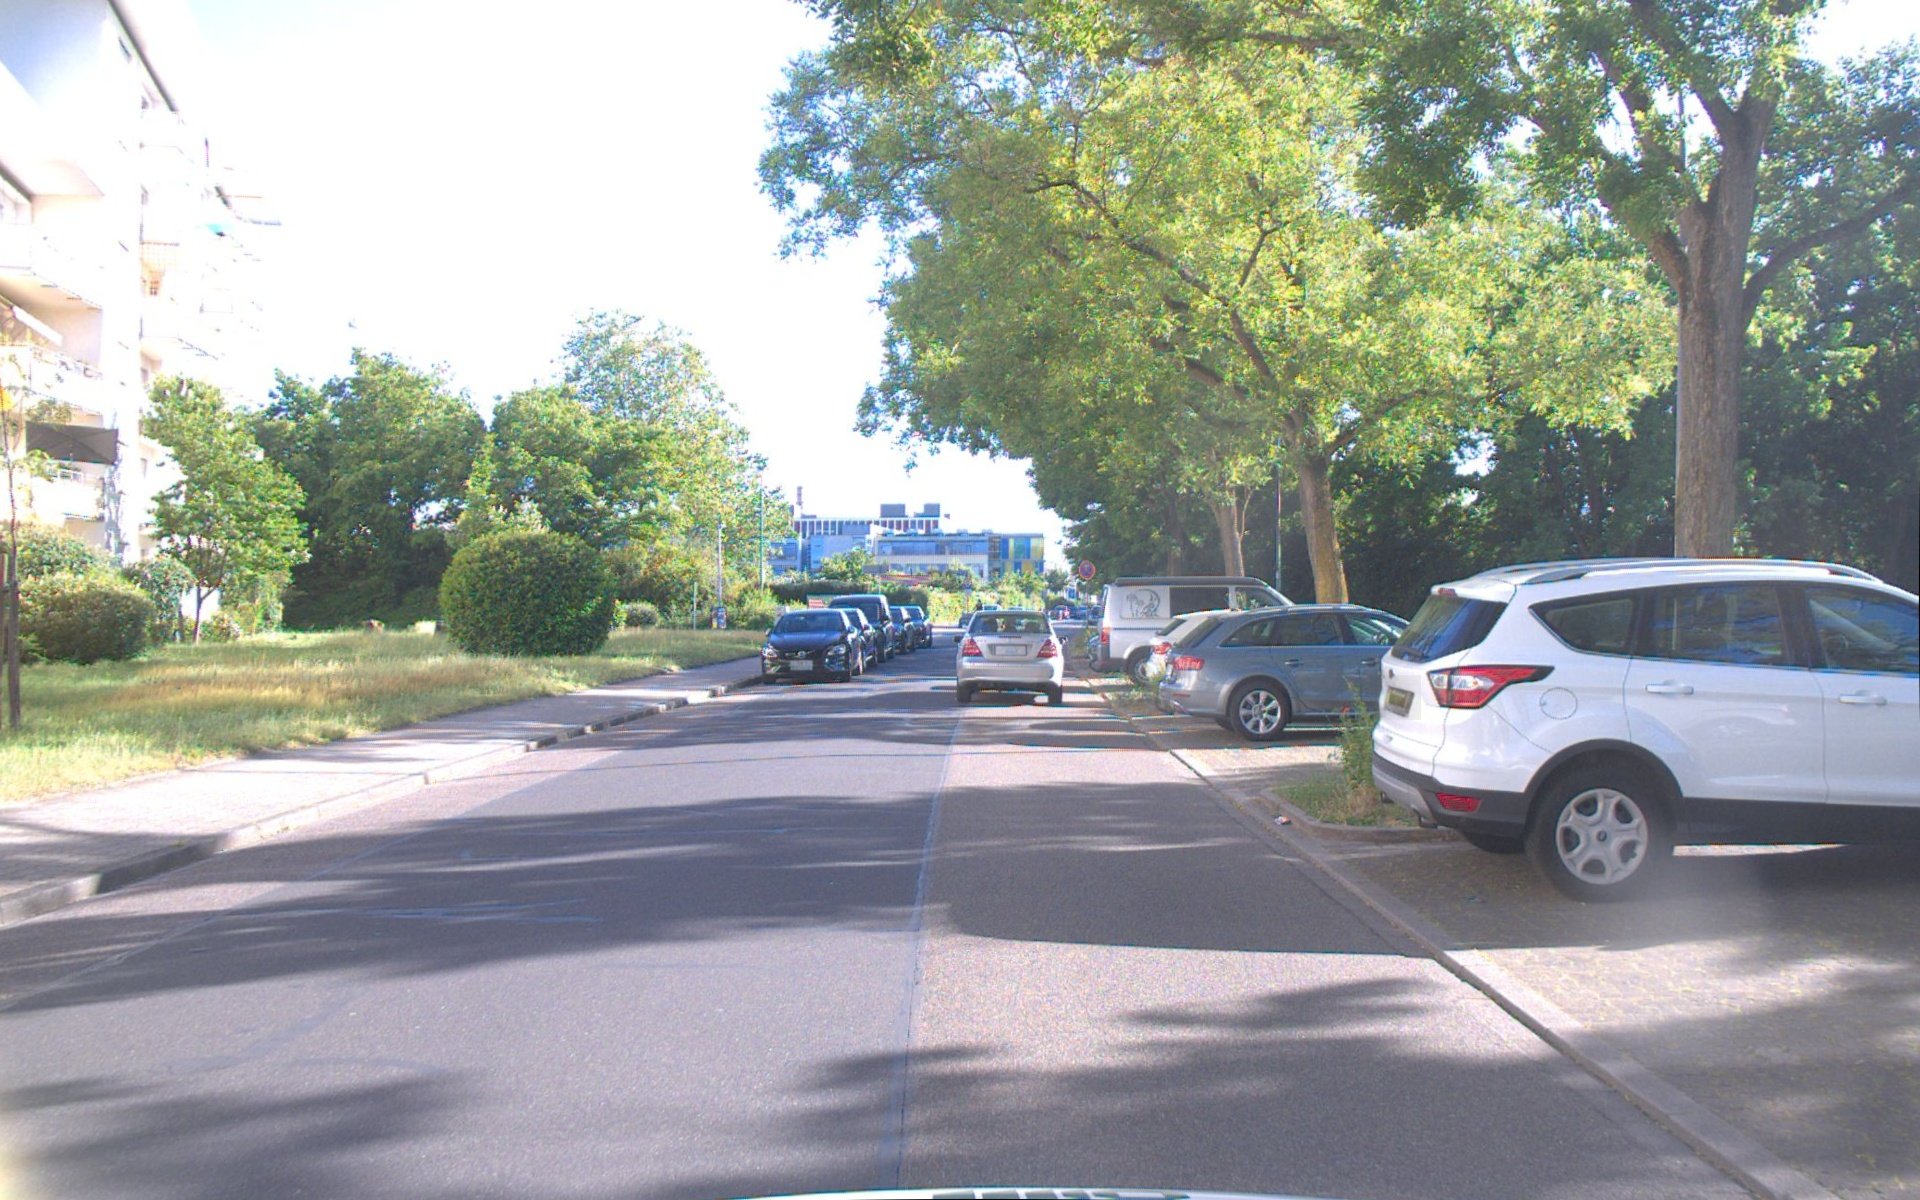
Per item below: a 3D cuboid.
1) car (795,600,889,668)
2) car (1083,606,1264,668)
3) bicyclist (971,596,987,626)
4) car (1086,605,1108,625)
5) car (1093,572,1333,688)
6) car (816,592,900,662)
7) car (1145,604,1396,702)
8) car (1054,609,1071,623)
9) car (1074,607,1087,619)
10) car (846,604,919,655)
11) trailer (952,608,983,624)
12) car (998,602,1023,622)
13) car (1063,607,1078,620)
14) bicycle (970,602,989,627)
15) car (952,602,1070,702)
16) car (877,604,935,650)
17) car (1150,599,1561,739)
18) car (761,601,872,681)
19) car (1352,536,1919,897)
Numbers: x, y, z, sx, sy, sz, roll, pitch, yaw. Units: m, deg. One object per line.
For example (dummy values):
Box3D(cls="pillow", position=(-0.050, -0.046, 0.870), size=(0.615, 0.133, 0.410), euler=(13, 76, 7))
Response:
Box3D(cls="car", position=(-2.877, 0.811, 41.160), size=(1.802, 1.507, 4.576), euler=(-3, 0, 2))
Box3D(cls="car", position=(5.351, 0.914, 41.868), size=(4.359, 1.439, 1.775), euler=(-1, 0, 2))
Box3D(cls="bicyclist", position=(1.072, 0.602, 91.460), size=(0.827, 1.687, 1.065), euler=(0, -1, 4))
Box3D(cls="car", position=(11.180, 1.191, 134.699), size=(1.523, 1.565, 3.558), euler=(2, 0, 8))
Box3D(cls="car", position=(4.785, 0.556, 31.843), size=(4.358, 2.052, 2.022), euler=(-1, 0, 3))
Box3D(cls="car", position=(-2.816, 0.736, 46.554), size=(1.801, 1.811, 4.890), euler=(-2, 0, 3))
Box3D(cls="car", position=(4.935, 0.828, 26.677), size=(3.825, 1.460, 1.637), euler=(-1, 0, 5))
Box3D(cls="car", position=(11.265, 1.722, 181.954), size=(1.526, 1.521, 3.573), euler=(-1, -1, 8))
Box3D(cls="car", position=(15.817, 1.659, 216.941), size=(1.526, 1.521, 3.761), euler=(-1, -1, 8))
Box3D(cls="car", position=(-2.434, 0.920, 52.973), size=(1.801, 1.480, 4.020), euler=(-2, 0, 5))
Box3D(cls="trailer", position=(0.496, 1.050, 107.906), size=(1.511, 0.970, 2.649), euler=(1, 0, 10))
Box3D(cls="car", position=(4.134, 0.977, 135.557), size=(1.608, 1.583, 4.421), euler=(-1, -1, 8))
Box3D(cls="car", position=(13.387, 1.602, 200.057), size=(1.526, 1.521, 3.573), euler=(2, 0, 8))
Box3D(cls="bicycle", position=(1.092, 0.803, 91.703), size=(0.833, 1.394, 3.222), euler=(0, 0, 4))
Box3D(cls="car", position=(0.759, 0.790, 26.815), size=(1.702, 1.478, 3.999), euler=(1, 0, -1))
Box3D(cls="car", position=(-1.893, 0.934, 59.304), size=(1.691, 1.489, 4.684), euler=(-1, 0, 3))
Box3D(cls="car", position=(4.526, 0.771, 19.374), size=(4.388, 1.497, 1.745), euler=(-1, 0, 0))
Box3D(cls="car", position=(-2.938, 0.811, 34.752), size=(1.802, 1.507, 4.801), euler=(-1, 0, 1))
Box3D(cls="car", position=(4.361, 0.582, 9.189), size=(3.958, 1.795, 1.745), euler=(0, 0, 0))
